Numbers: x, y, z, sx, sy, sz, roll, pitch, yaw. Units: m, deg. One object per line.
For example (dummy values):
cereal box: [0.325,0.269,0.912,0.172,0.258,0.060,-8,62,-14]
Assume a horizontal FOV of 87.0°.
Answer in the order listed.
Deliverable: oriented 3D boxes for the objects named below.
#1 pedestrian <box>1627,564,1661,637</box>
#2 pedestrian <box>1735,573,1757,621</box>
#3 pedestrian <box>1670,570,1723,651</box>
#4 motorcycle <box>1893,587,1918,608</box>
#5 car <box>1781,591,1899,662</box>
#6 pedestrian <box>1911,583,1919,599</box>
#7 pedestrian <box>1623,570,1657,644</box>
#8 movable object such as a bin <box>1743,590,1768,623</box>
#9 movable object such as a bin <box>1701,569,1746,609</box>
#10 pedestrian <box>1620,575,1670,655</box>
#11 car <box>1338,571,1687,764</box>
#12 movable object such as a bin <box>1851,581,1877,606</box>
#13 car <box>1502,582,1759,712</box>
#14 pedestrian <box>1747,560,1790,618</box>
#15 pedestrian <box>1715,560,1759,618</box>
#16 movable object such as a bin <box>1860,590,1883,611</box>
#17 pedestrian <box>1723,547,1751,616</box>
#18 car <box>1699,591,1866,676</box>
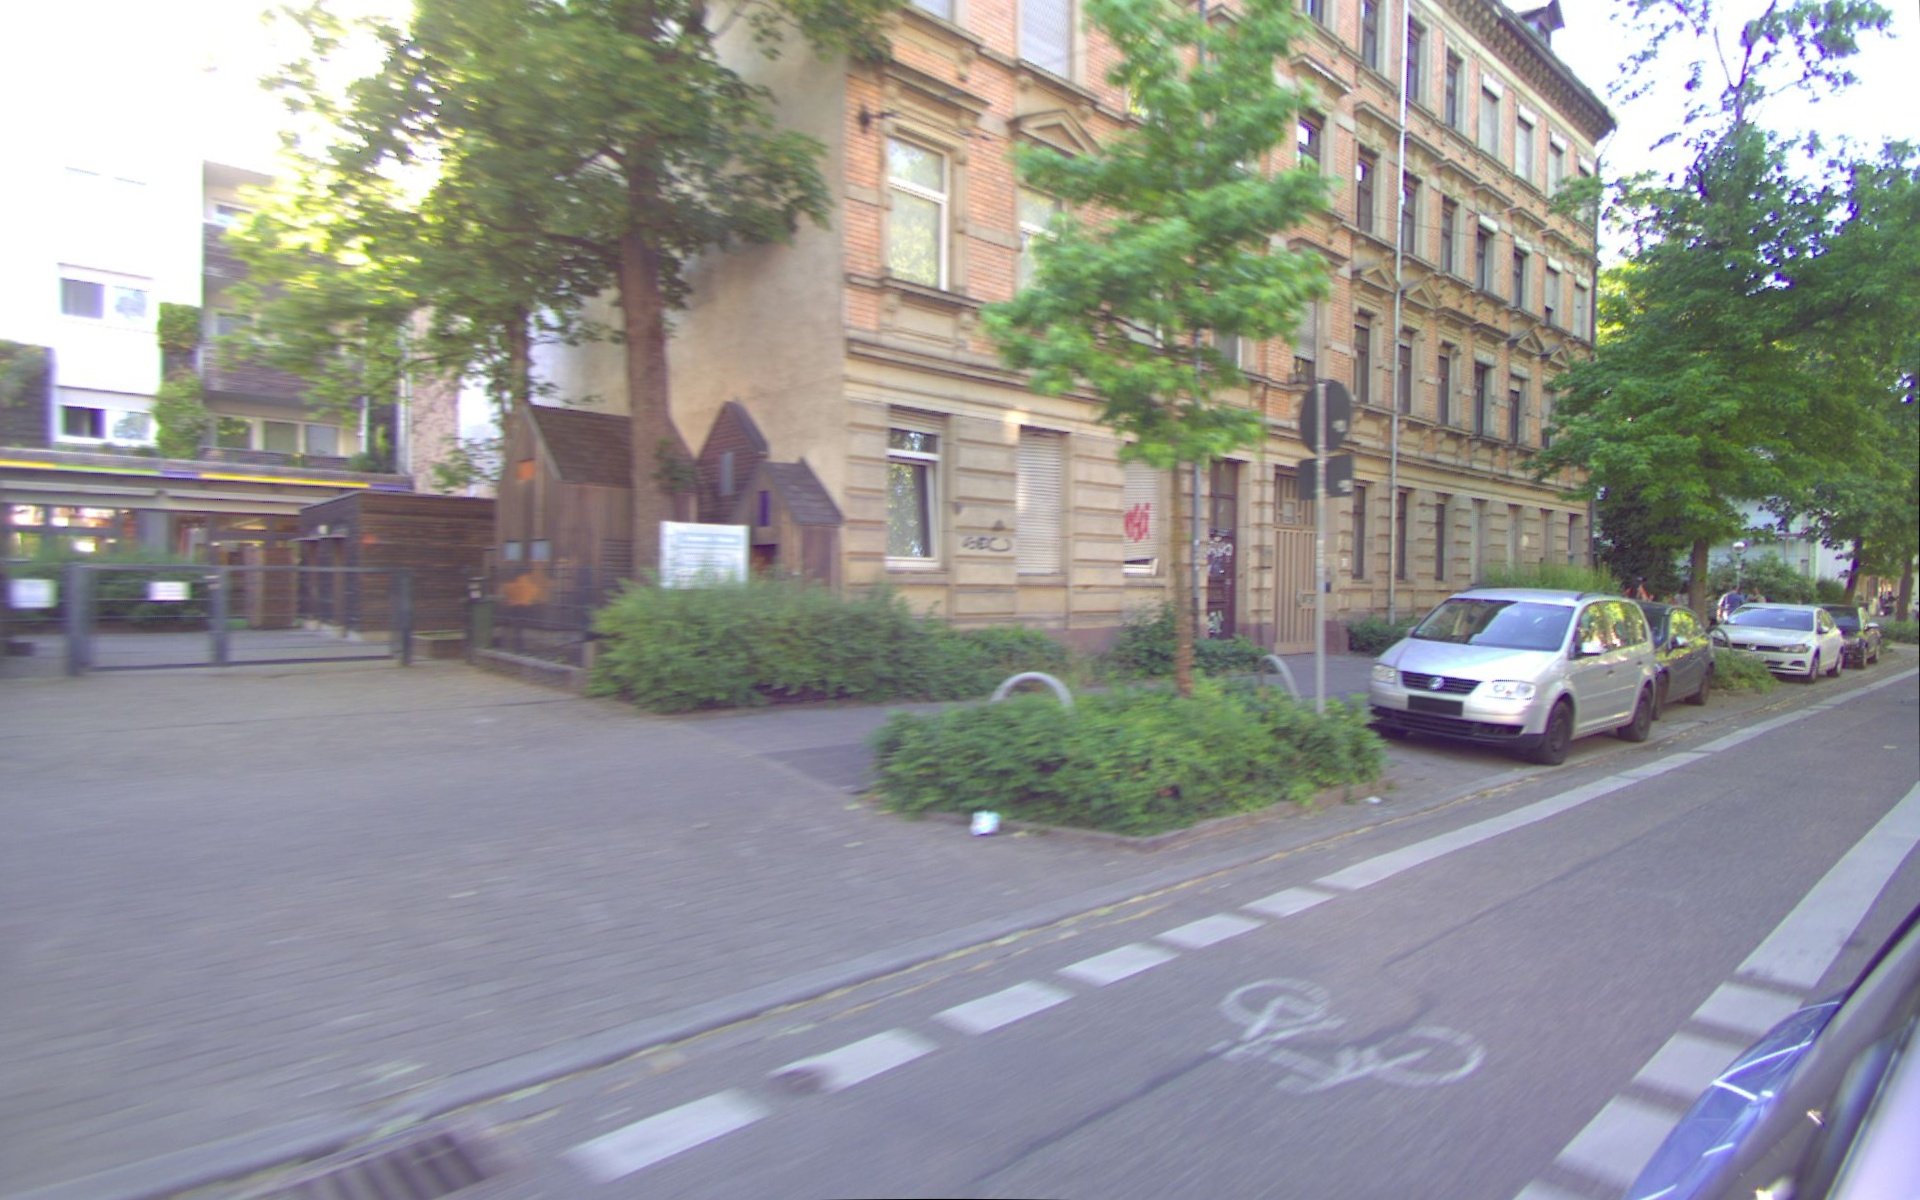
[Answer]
pedestrian: [17.467,0.006,25.845,0.716,1.815,0.599,-1,1,-43]
pedestrian: [28.859,-0.126,37.164,0.615,1.747,0.547,0,0,34]
pedestrian: [15.859,0.210,21.786,0.940,1.714,0.727,-1,1,-40]
motorcycle: [64.949,-0.182,69.503,2.605,1.332,0.954,1,6,-43]
car: [21.256,0.573,24.400,3.778,1.429,1.676,-1,4,-42]
pedestrian: [71.460,-0.685,75.535,0.677,1.220,0.640,0,1,39]
pedestrian: [17.012,0.153,25.316,0.598,1.815,0.717,0,1,44]
movable object such as a bin: [28.667,0.232,36.467,0.665,1.140,0.942,0,1,42]
movable object such as a bin: [24.093,-0.353,31.924,1.279,1.217,0.642,0,3,-30]
pedestrian: [15.258,0.315,22.544,0.841,1.731,0.727,-1,1,-41]
car: [6.017,0.536,10.830,4.168,1.587,1.888,-1,4,-41]
movable object such as a bin: [52.037,-0.390,58.277,0.811,1.414,1.001,-1,3,-43]
car: [9.723,0.536,14.529,4.514,1.484,1.888,-1,4,-41]
pedestrian: [25.674,-0.350,32.145,0.836,1.815,0.729,0,3,-30]
pedestrian: [25.047,-0.357,32.622,0.948,1.815,0.729,0,3,-30]
movable object such as a bin: [50.829,0.016,56.430,0.685,1.124,0.882,-1,3,-43]
pedestrian: [21.005,-0.500,27.345,0.597,1.815,0.718,0,0,39]
car: [16.522,0.578,20.269,4.035,1.384,1.888,-1,4,-41]
